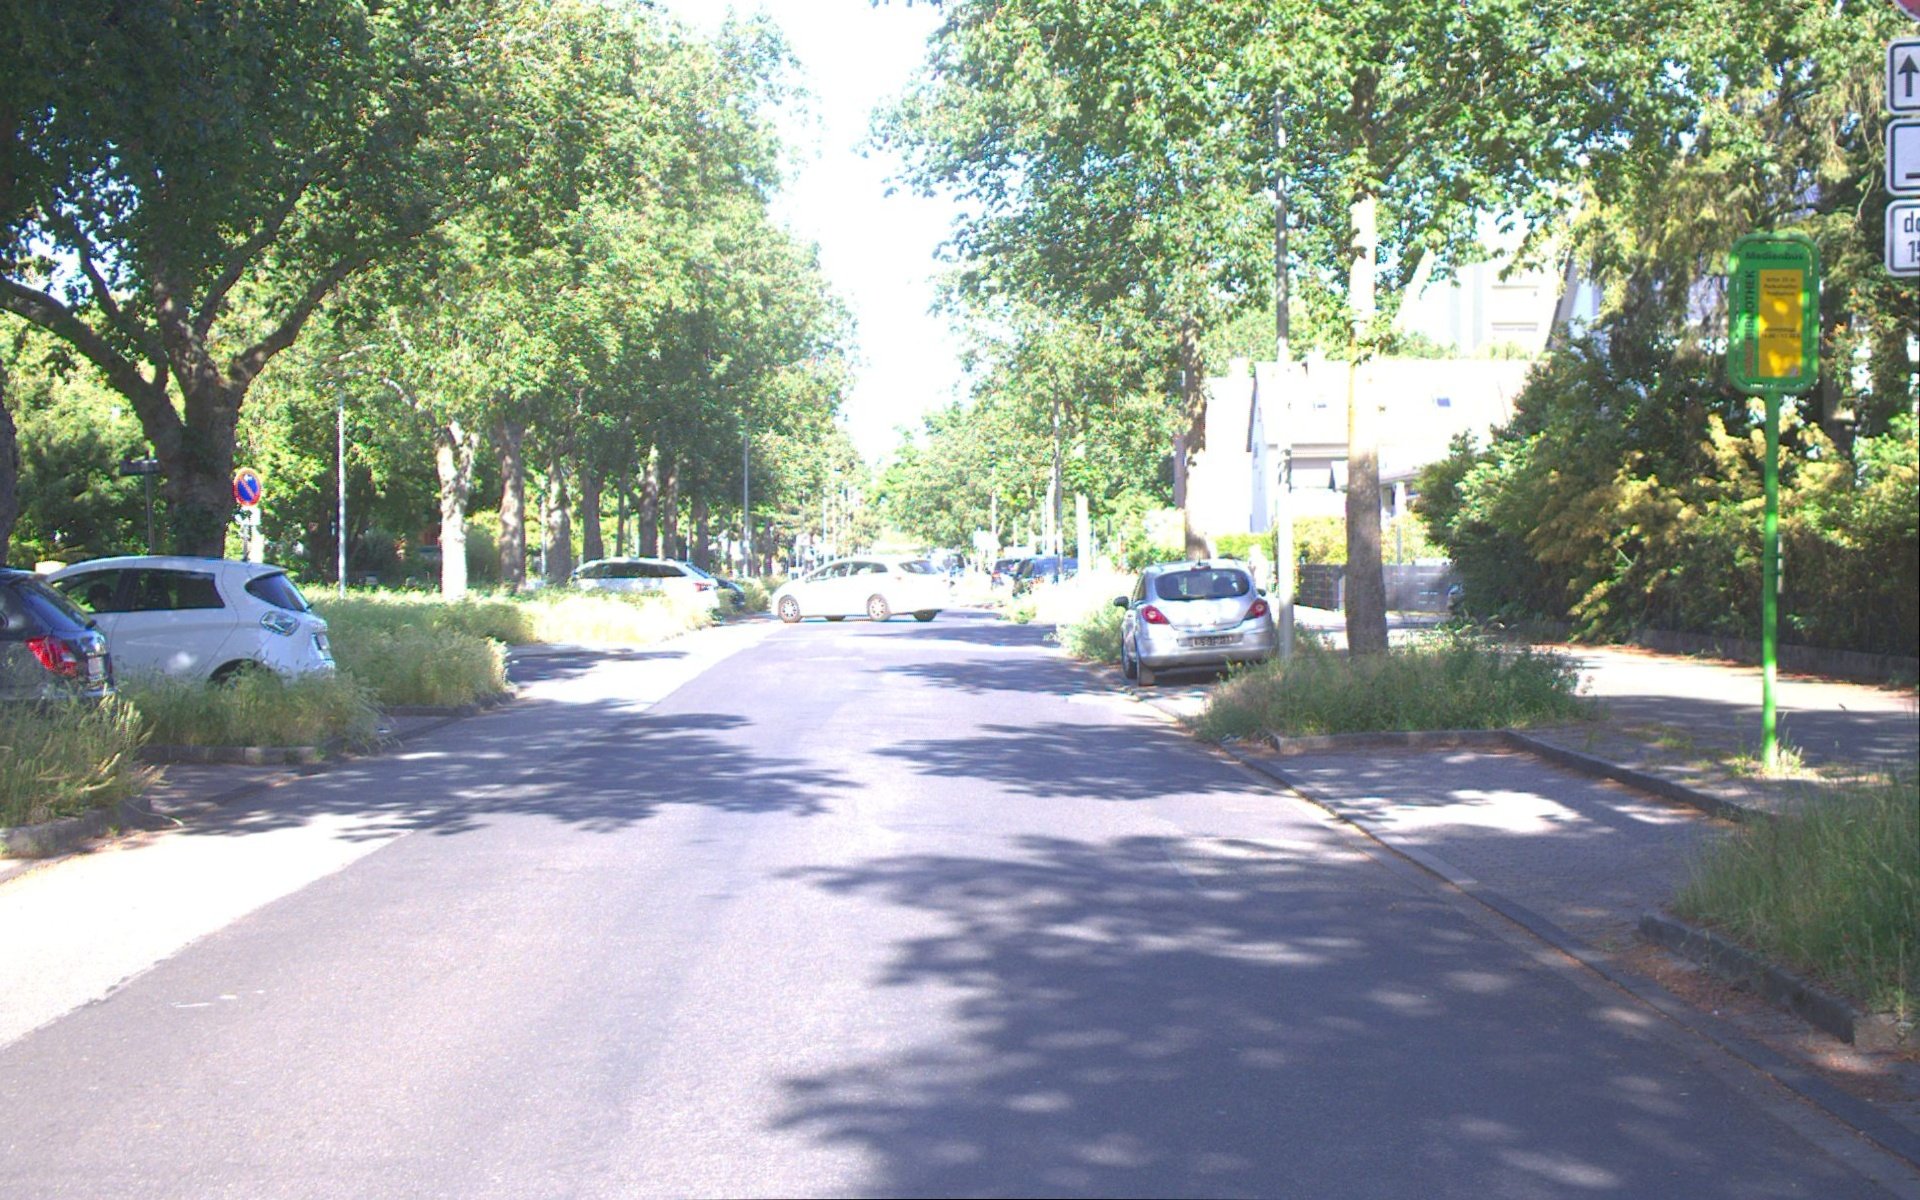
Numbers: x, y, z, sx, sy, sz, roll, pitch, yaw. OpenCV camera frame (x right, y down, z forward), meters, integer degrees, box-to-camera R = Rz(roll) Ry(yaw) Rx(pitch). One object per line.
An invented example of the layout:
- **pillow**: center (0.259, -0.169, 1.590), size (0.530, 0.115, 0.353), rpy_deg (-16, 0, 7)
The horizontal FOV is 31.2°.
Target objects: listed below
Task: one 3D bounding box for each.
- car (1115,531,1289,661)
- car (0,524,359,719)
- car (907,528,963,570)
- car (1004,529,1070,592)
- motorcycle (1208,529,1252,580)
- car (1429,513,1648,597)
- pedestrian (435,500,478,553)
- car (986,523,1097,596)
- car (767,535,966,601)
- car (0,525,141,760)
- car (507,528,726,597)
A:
- **car**: center (3.063, -0.057, 42.784), size (1.994, 1.505, 3.999), rpy_deg (-1, 0, 6)
- **car**: center (-7.504, 0.163, 30.624), size (3.986, 1.655, 1.967), rpy_deg (0, 1, -2)
- **car**: center (-1.003, -2.000, 135.296), size (1.993, 1.503, 3.659), rpy_deg (3, 1, -3)
- **car**: center (2.117, -1.082, 94.954), size (1.610, 1.616, 4.382), rpy_deg (3, 1, -1)
- **motorcycle**: center (6.692, -1.134, 85.403), size (0.818, 1.223, 2.352), rpy_deg (-2, 1, -1)
- **car**: center (11.590, -0.912, 68.986), size (3.986, 1.634, 1.777), rpy_deg (0, 1, -7)
- **pedestrian**: center (-17.655, -2.577, 120.529), size (1.224, 1.821, 1.551), rpy_deg (1, 0, -17)
- **car**: center (1.937, -0.996, 83.045), size (1.993, 1.616, 4.383), rpy_deg (3, 1, -7)
- **car**: center (-2.137, -0.752, 77.905), size (4.220, 1.450, 1.996), rpy_deg (1, 1, 38)
- **car**: center (-8.107, 0.196, 24.595), size (3.986, 1.583, 2.000), rpy_deg (3, 0, -2)
- **car**: center (-7.656, -0.845, 76.887), size (4.671, 1.498, 2.000), rpy_deg (0, 1, 1)
